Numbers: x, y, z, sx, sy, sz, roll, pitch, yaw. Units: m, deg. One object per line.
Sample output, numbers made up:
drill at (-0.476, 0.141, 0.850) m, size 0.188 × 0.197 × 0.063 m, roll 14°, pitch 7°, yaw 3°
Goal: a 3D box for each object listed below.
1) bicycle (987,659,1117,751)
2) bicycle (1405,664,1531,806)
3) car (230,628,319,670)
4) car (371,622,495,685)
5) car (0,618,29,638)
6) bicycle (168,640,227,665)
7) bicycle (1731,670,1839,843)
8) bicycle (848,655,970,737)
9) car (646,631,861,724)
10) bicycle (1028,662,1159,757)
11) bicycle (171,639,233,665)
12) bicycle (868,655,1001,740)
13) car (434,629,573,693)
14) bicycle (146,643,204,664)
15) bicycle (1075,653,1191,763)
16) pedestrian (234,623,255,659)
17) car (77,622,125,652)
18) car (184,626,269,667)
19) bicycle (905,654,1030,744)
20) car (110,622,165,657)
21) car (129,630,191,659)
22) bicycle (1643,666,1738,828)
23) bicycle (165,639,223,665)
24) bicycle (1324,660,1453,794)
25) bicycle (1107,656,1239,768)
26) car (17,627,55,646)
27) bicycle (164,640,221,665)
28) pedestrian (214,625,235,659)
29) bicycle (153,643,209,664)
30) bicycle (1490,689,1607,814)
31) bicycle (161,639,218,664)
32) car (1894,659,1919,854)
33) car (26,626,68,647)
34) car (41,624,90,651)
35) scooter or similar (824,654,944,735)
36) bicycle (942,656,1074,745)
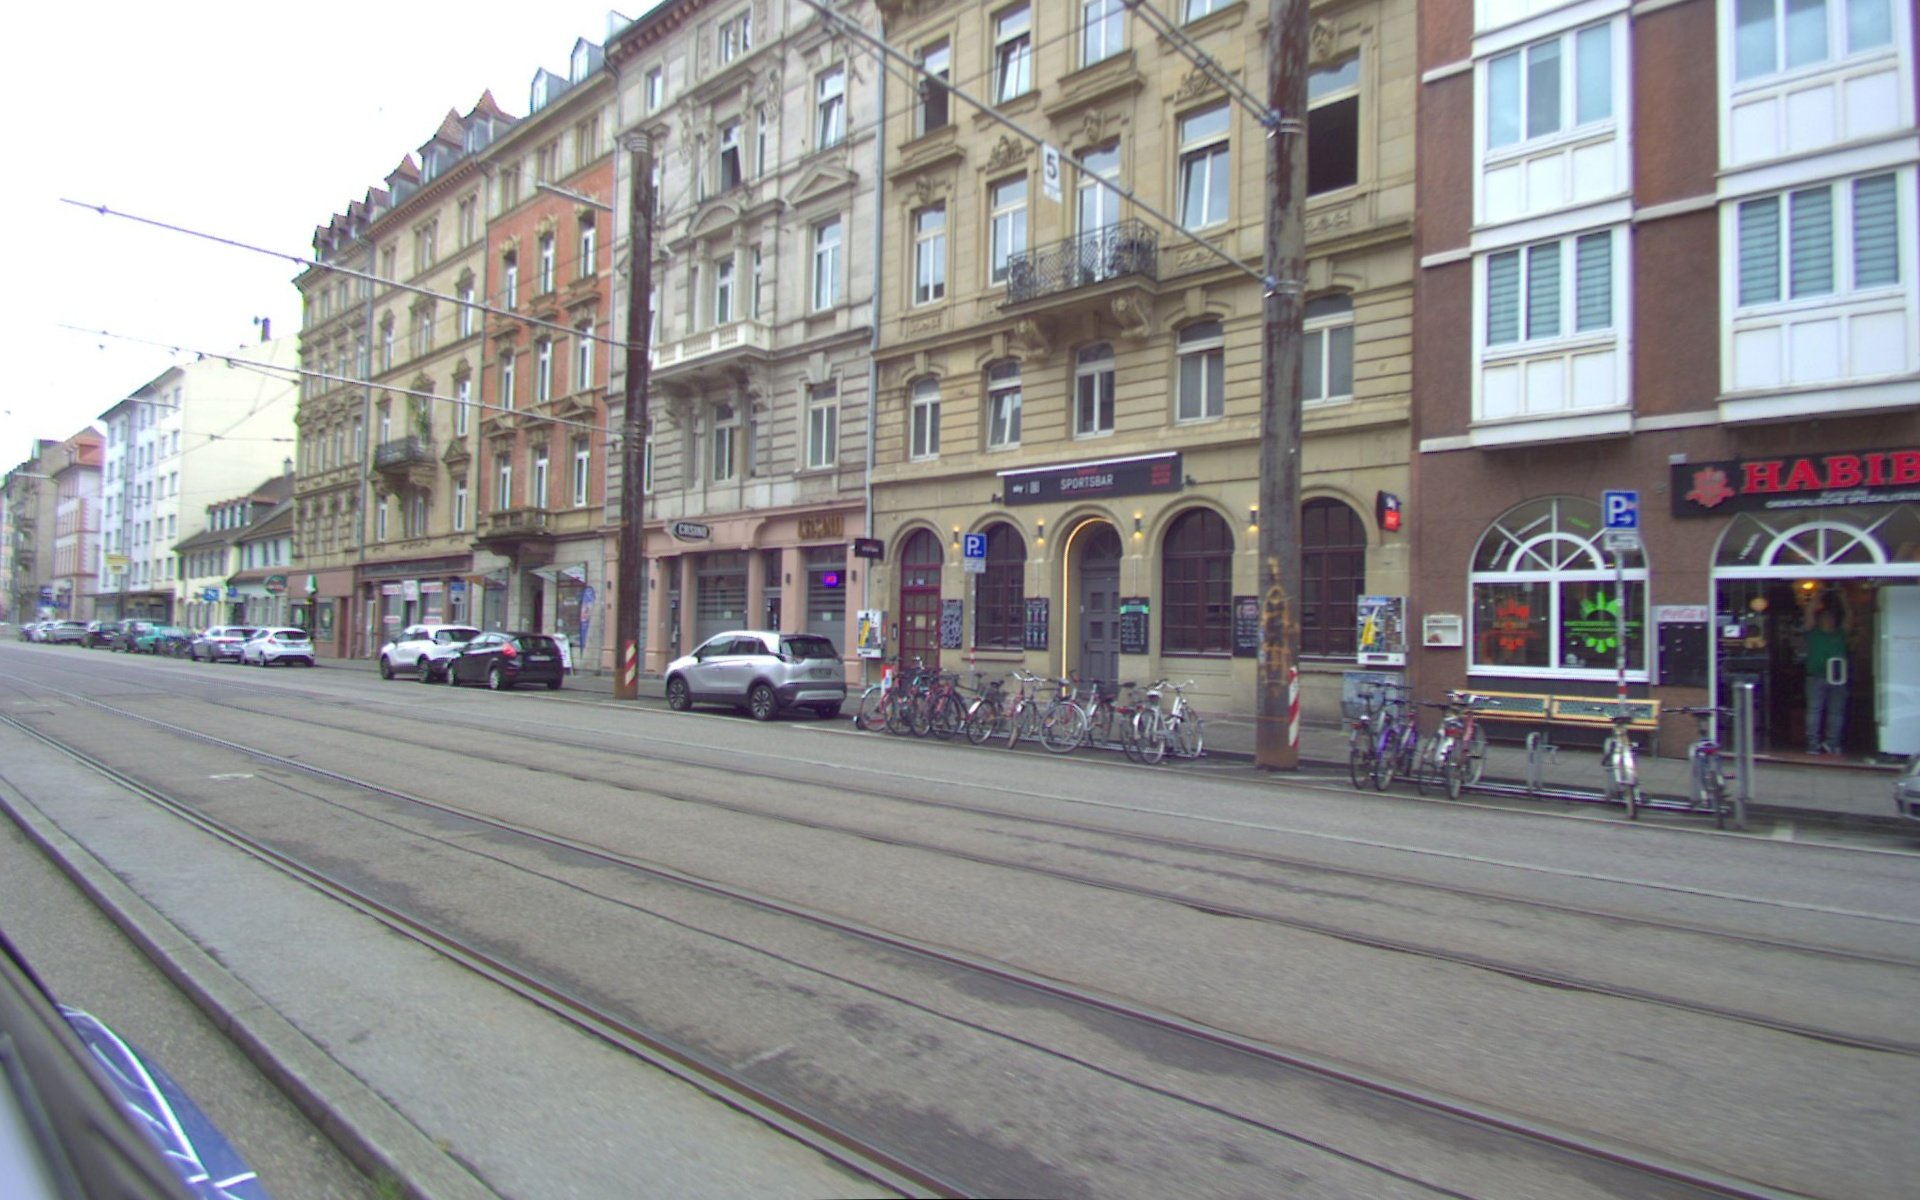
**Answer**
bicycle at (1.376, 1.511, 14.683) m, size 0.666 × 1.212 × 2.258 m, roll -1°, pitch -5°, yaw 41°
bicycle at (5.494, 1.402, 10.858) m, size 0.666 × 1.339 × 2.258 m, roll -1°, pitch -5°, yaw 41°
car at (-26.108, 1.845, 38.486) m, size 4.043 × 1.476 × 1.725 m, roll -1°, pitch -4°, yaw 41°
car at (-15.134, 1.524, 28.991) m, size 4.043 × 1.685 × 1.725 m, roll -1°, pitch -4°, yaw 41°
car at (-83.195, 2.456, 88.651) m, size 3.998 × 1.574 × 1.843 m, roll -1°, pitch -5°, yaw 41°
bicycle at (-34.298, 2.347, 45.550) m, size 0.557 × 1.106 × 2.017 m, roll -1°, pitch -2°, yaw 41°
bicycle at (7.451, 1.340, 9.101) m, size 0.666 × 1.339 × 2.258 m, roll -1°, pitch -5°, yaw 41°
bicycle at (-0.785, 1.517, 16.399) m, size 0.547 × 1.212 × 2.258 m, roll -1°, pitch -3°, yaw 41°
car at (-3.971, 1.406, 19.135) m, size 4.222 × 1.545 × 1.726 m, roll -1°, pitch -4°, yaw 40°
bicycle at (1.914, 1.523, 14.213) m, size 0.666 × 1.212 × 2.258 m, roll -1°, pitch -5°, yaw 41°
bicycle at (-33.742, 2.316, 45.090) m, size 0.557 × 1.106 × 2.111 m, roll -1°, pitch -2°, yaw 41°
bicycle at (-0.361, 1.516, 15.842) m, size 0.704 × 1.212 × 2.258 m, roll -1°, pitch -5°, yaw 41°
car at (-11.694, 1.539, 25.836) m, size 3.919 × 1.500 × 1.725 m, roll -1°, pitch -4°, yaw 42°
bicycle at (-37.458, 2.550, 48.337) m, size 0.556 × 0.940 × 2.100 m, roll -1°, pitch -2°, yaw 38°
bicycle at (2.401, 1.424, 13.802) m, size 0.448 × 1.304 × 2.258 m, roll -1°, pitch -1°, yaw 41°
pedestrian at (-35.215, 2.011, 49.808) m, size 0.753 × 1.725 × 0.648 m, roll -1°, pitch -2°, yaw 40°
car at (-51.784, 2.211, 60.989) m, size 4.180 × 1.684 × 1.682 m, roll -1°, pitch -2°, yaw 42°
car at (-29.893, 1.894, 41.201) m, size 4.543 × 1.533 × 1.805 m, roll -2°, pitch -5°, yaw 41°
bicycle at (0.156, 1.465, 15.434) m, size 0.540 × 1.212 × 2.258 m, roll 1°, pitch -1°, yaw 41°
car at (-44.126, 2.111, 54.276) m, size 3.919 × 1.770 × 1.684 m, roll -1°, pitch -4°, yaw 43°
car at (-40.565, 2.248, 51.323) m, size 3.431 × 1.391 × 1.631 m, roll -2°, pitch -5°, yaw 38°
bicycle at (6.944, 1.338, 9.578) m, size 0.521 × 1.339 × 2.258 m, roll -1°, pitch -5°, yaw 41°
bicycle at (-34.774, 2.355, 45.970) m, size 0.557 × 1.106 × 2.017 m, roll -1°, pitch -2°, yaw 41°
bicycle at (4.878, 1.396, 11.412) m, size 0.666 × 1.339 × 2.258 m, roll -1°, pitch -5°, yaw 41°
bicycle at (2.863, 1.462, 13.396) m, size 0.666 × 1.339 × 2.258 m, roll -1°, pitch -5°, yaw 41°
car at (-70.114, 2.753, 76.798) m, size 3.244 × 1.354 × 1.710 m, roll -1°, pitch -2°, yaw 41°
bicycle at (-35.201, 2.381, 46.445) m, size 0.557 × 1.106 × 2.017 m, roll -1°, pitch -2°, yaw 41°
pedestrian at (-35.956, 2.043, 49.496) m, size 0.727 × 1.629 × 0.648 m, roll -1°, pitch -2°, yaw 40°
bicycle at (-36.910, 2.533, 47.949) m, size 0.557 × 0.940 × 2.017 m, roll -1°, pitch -2°, yaw 42°
bicycle at (6.057, 1.487, 10.360) m, size 0.619 × 1.049 × 2.258 m, roll -1°, pitch -3°, yaw 41°
bicycle at (-35.739, 2.382, 46.939) m, size 0.557 × 1.106 × 2.017 m, roll -1°, pitch -2°, yaw 41°
car at (9.424, 1.225, 7.227) m, size 3.917 × 1.500 × 1.726 m, roll -1°, pitch -4°, yaw 40°
car at (-65.371, 2.618, 72.459) m, size 3.824 × 1.462 × 1.710 m, roll -1°, pitch -2°, yaw 41°
car at (-60.209, 2.477, 68.111) m, size 3.824 × 1.745 × 1.904 m, roll -1°, pitch -2°, yaw 41°
scooter or similar at (-1.228, 1.540, 16.858) m, size 0.547 × 1.212 × 2.258 m, roll -1°, pitch -2°, yaw 41°
bicycle at (0.764, 1.492, 15.161) m, size 0.704 × 1.212 × 2.258 m, roll -1°, pitch -5°, yaw 41°
